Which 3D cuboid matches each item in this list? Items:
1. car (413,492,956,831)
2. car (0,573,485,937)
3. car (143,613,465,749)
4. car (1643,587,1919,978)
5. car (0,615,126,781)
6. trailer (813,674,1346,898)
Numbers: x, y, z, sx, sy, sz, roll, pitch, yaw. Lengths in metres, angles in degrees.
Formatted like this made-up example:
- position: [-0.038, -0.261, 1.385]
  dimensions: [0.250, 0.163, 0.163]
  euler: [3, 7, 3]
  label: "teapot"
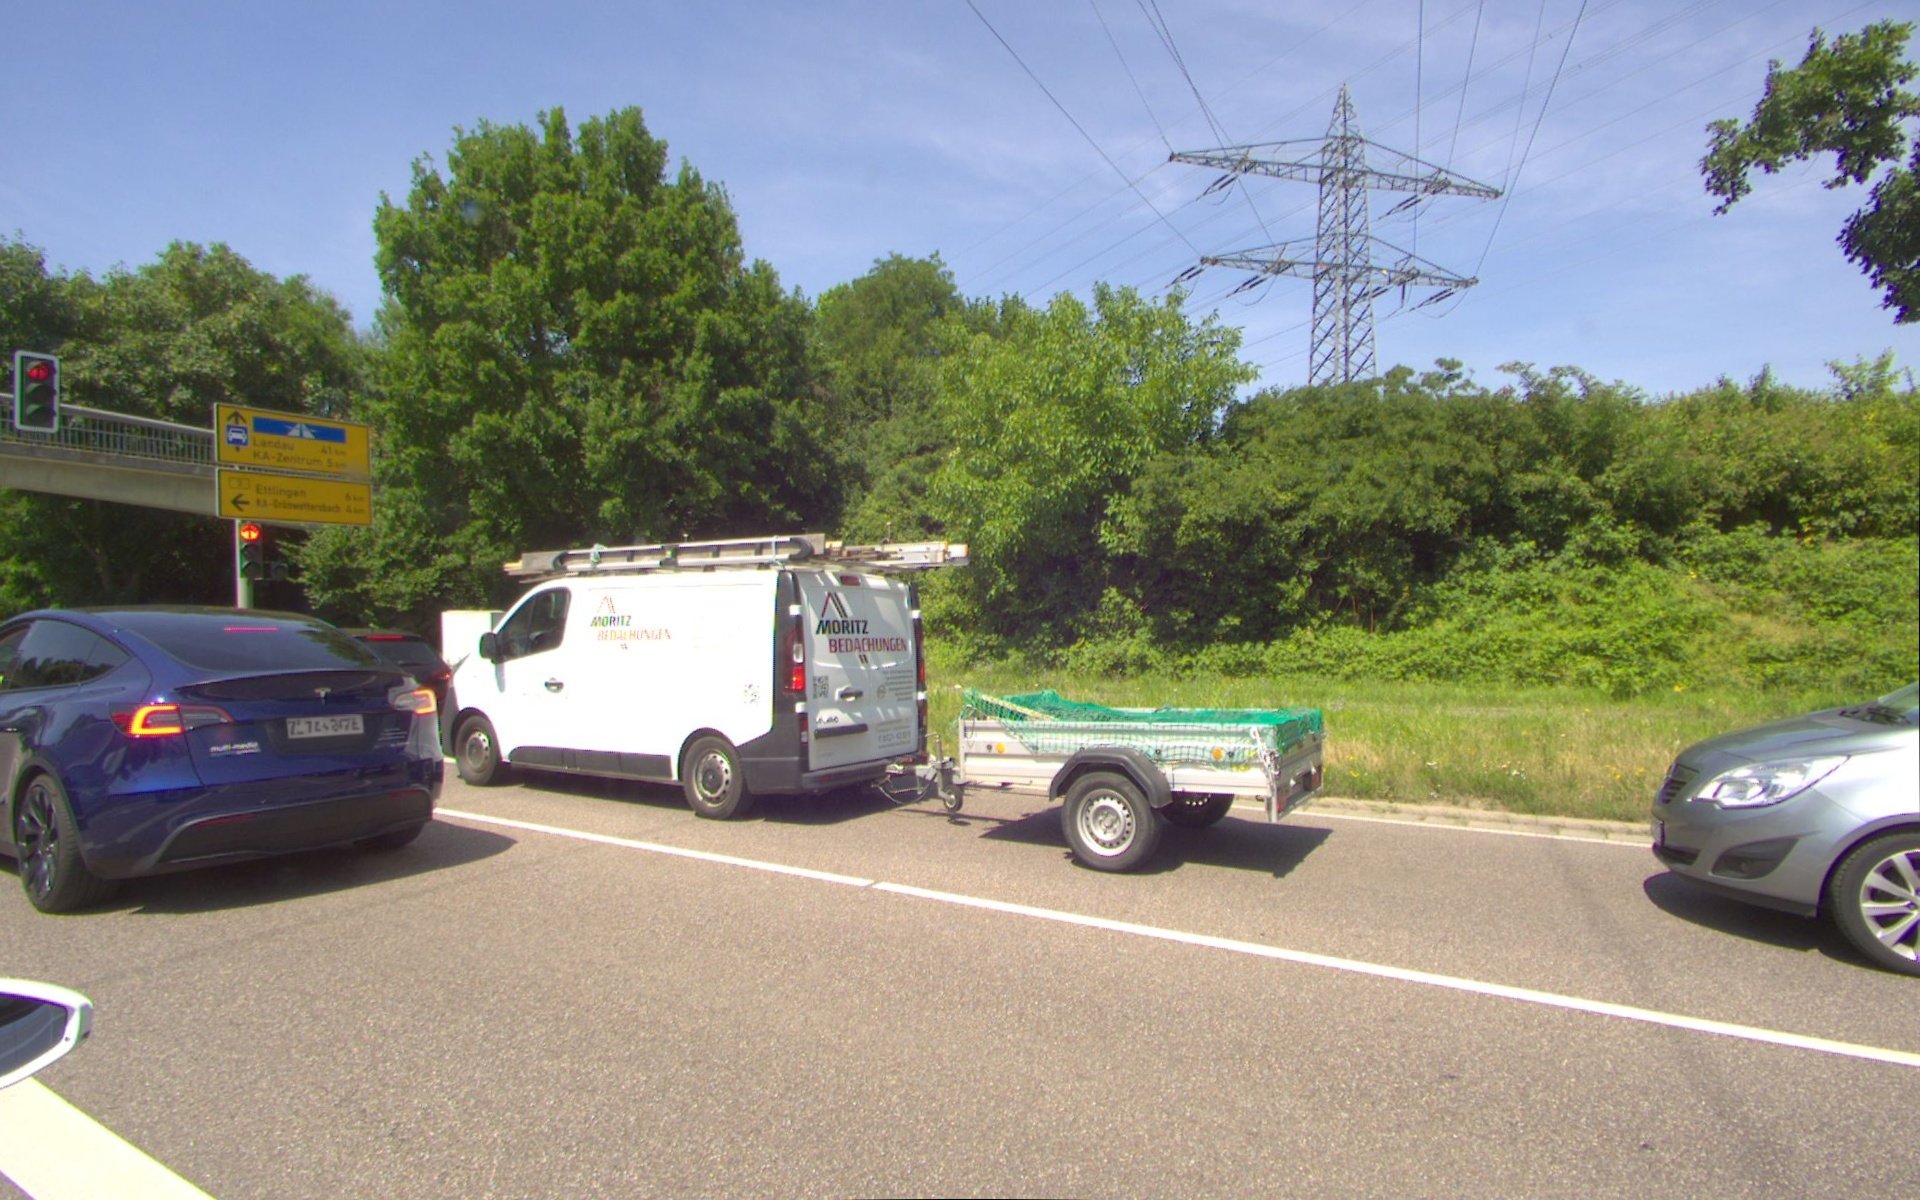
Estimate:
- position: [-2.660, 0.482, 9.189]
  dimensions: [5.002, 2.379, 1.929]
  euler: [-1, -1, 32]
  label: "car"
- position: [-5.329, 0.756, 6.599]
  dimensions: [4.455, 1.665, 1.897]
  euler: [-1, -1, 32]
  label: "car"
- position: [-8.585, 0.936, 13.022]
  dimensions: [4.317, 1.497, 1.897]
  euler: [-1, -1, 32]
  label: "car"
- position: [5.429, 0.751, 4.239]
  dimensions: [4.105, 1.616, 1.761]
  euler: [0, 0, 32]
  label: "car"
- position: [-10.355, 0.905, 10.095]
  dimensions: [3.882, 1.497, 1.897]
  euler: [-1, -1, 32]
  label: "car"
- position: [0.789, 1.109, 6.935]
  dimensions: [3.276, 1.019, 1.703]
  euler: [-1, -1, 32]
  label: "trailer"
